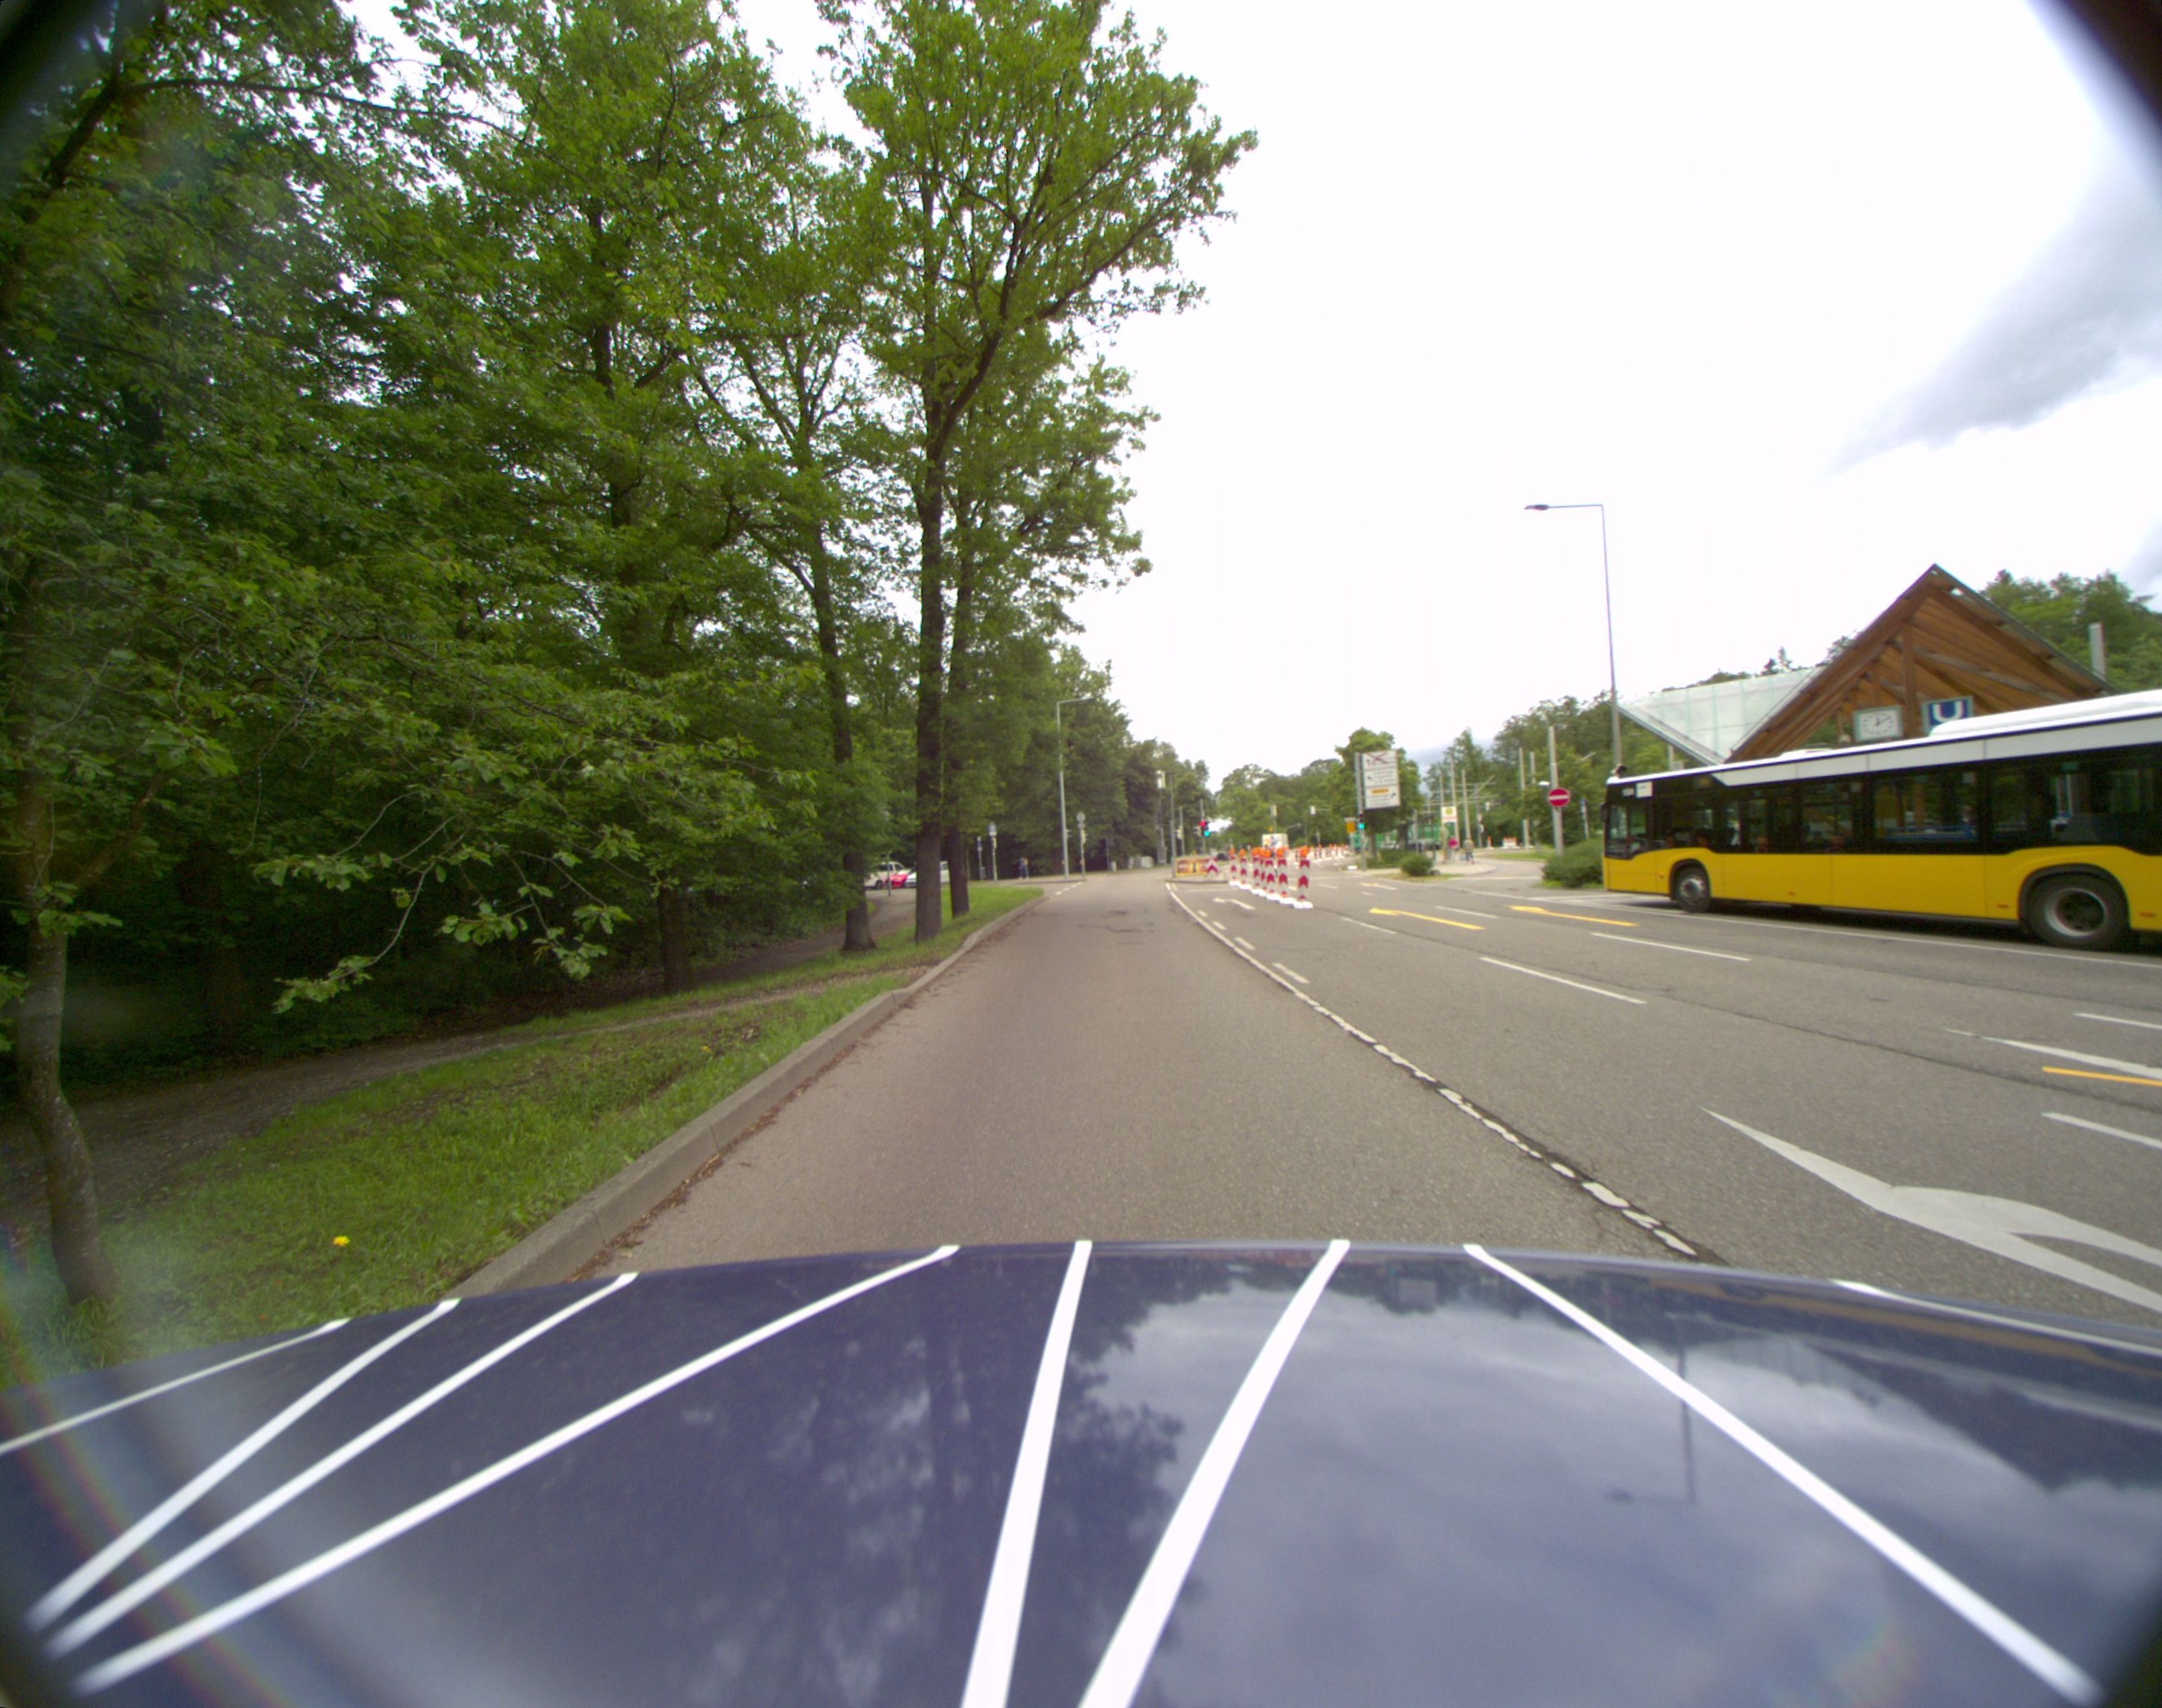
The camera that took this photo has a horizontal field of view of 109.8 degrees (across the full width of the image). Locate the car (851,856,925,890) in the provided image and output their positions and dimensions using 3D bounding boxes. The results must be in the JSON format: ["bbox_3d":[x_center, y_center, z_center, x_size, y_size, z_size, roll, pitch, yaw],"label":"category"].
[{"bbox_3d":[-14.181,1.367,56.076,2.058,1.946,5.191,-4,1,32],"label":"car"}]

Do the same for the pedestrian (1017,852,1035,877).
[{"bbox_3d":[-3.670,0.699,50.986,1.093,1.666,0.910,-3,1,-7],"label":"pedestrian"}]

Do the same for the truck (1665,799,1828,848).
[{"bbox_3d":[36.711,-1.615,42.249,2.609,2.157,6.295,-4,0,-17],"label":"truck"}]

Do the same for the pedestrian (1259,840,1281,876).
[{"bbox_3d":[9.922,0.225,39.860,0.993,1.798,0.767,-4,0,13],"label":"pedestrian"}]

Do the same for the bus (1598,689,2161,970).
[{"bbox_3d":[13.493,-0.341,12.847,2.906,3.109,9.759,-2,0,1],"label":"bus"}]

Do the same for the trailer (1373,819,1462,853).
[{"bbox_3d":[46.651,-2.435,105.935,3.792,3.858,11.850,-4,0,-23],"label":"trailer"}]

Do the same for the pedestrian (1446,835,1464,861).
[{"bbox_3d":[23.848,-0.383,48.461,0.791,1.542,0.776,-4,0,12],"label":"pedestrian"}]

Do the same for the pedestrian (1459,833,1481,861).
[{"bbox_3d":[22.208,-0.382,43.366,0.873,1.516,0.769,-4,0,42],"label":"pedestrian"}]

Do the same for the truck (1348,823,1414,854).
[{"bbox_3d":[44.113,-2.188,112.065,3.792,3.858,8.758,-4,0,-23],"label":"truck"}]

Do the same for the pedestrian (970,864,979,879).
[{"bbox_3d":[-12.448,2.019,89.046,0.833,1.641,1.035,-4,0,-2],"label":"pedestrian"}]

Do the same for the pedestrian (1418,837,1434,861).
[{"bbox_3d":[22.889,-0.325,50.486,0.775,1.537,0.629,-4,1,14],"label":"pedestrian"}]

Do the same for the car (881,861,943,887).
[{"bbox_3d":[-12.039,1.402,54.378,1.890,1.543,4.007,-4,-1,35],"label":"car"}]

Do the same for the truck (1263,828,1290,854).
[{"bbox_3d":[25.048,-1.669,96.937,2.631,3.219,6.215,-1,1,20],"label":"truck"}]

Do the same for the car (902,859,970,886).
[{"bbox_3d":[-10.084,1.287,53.061,1.995,1.543,4.429,-4,-1,35],"label":"car"}]
